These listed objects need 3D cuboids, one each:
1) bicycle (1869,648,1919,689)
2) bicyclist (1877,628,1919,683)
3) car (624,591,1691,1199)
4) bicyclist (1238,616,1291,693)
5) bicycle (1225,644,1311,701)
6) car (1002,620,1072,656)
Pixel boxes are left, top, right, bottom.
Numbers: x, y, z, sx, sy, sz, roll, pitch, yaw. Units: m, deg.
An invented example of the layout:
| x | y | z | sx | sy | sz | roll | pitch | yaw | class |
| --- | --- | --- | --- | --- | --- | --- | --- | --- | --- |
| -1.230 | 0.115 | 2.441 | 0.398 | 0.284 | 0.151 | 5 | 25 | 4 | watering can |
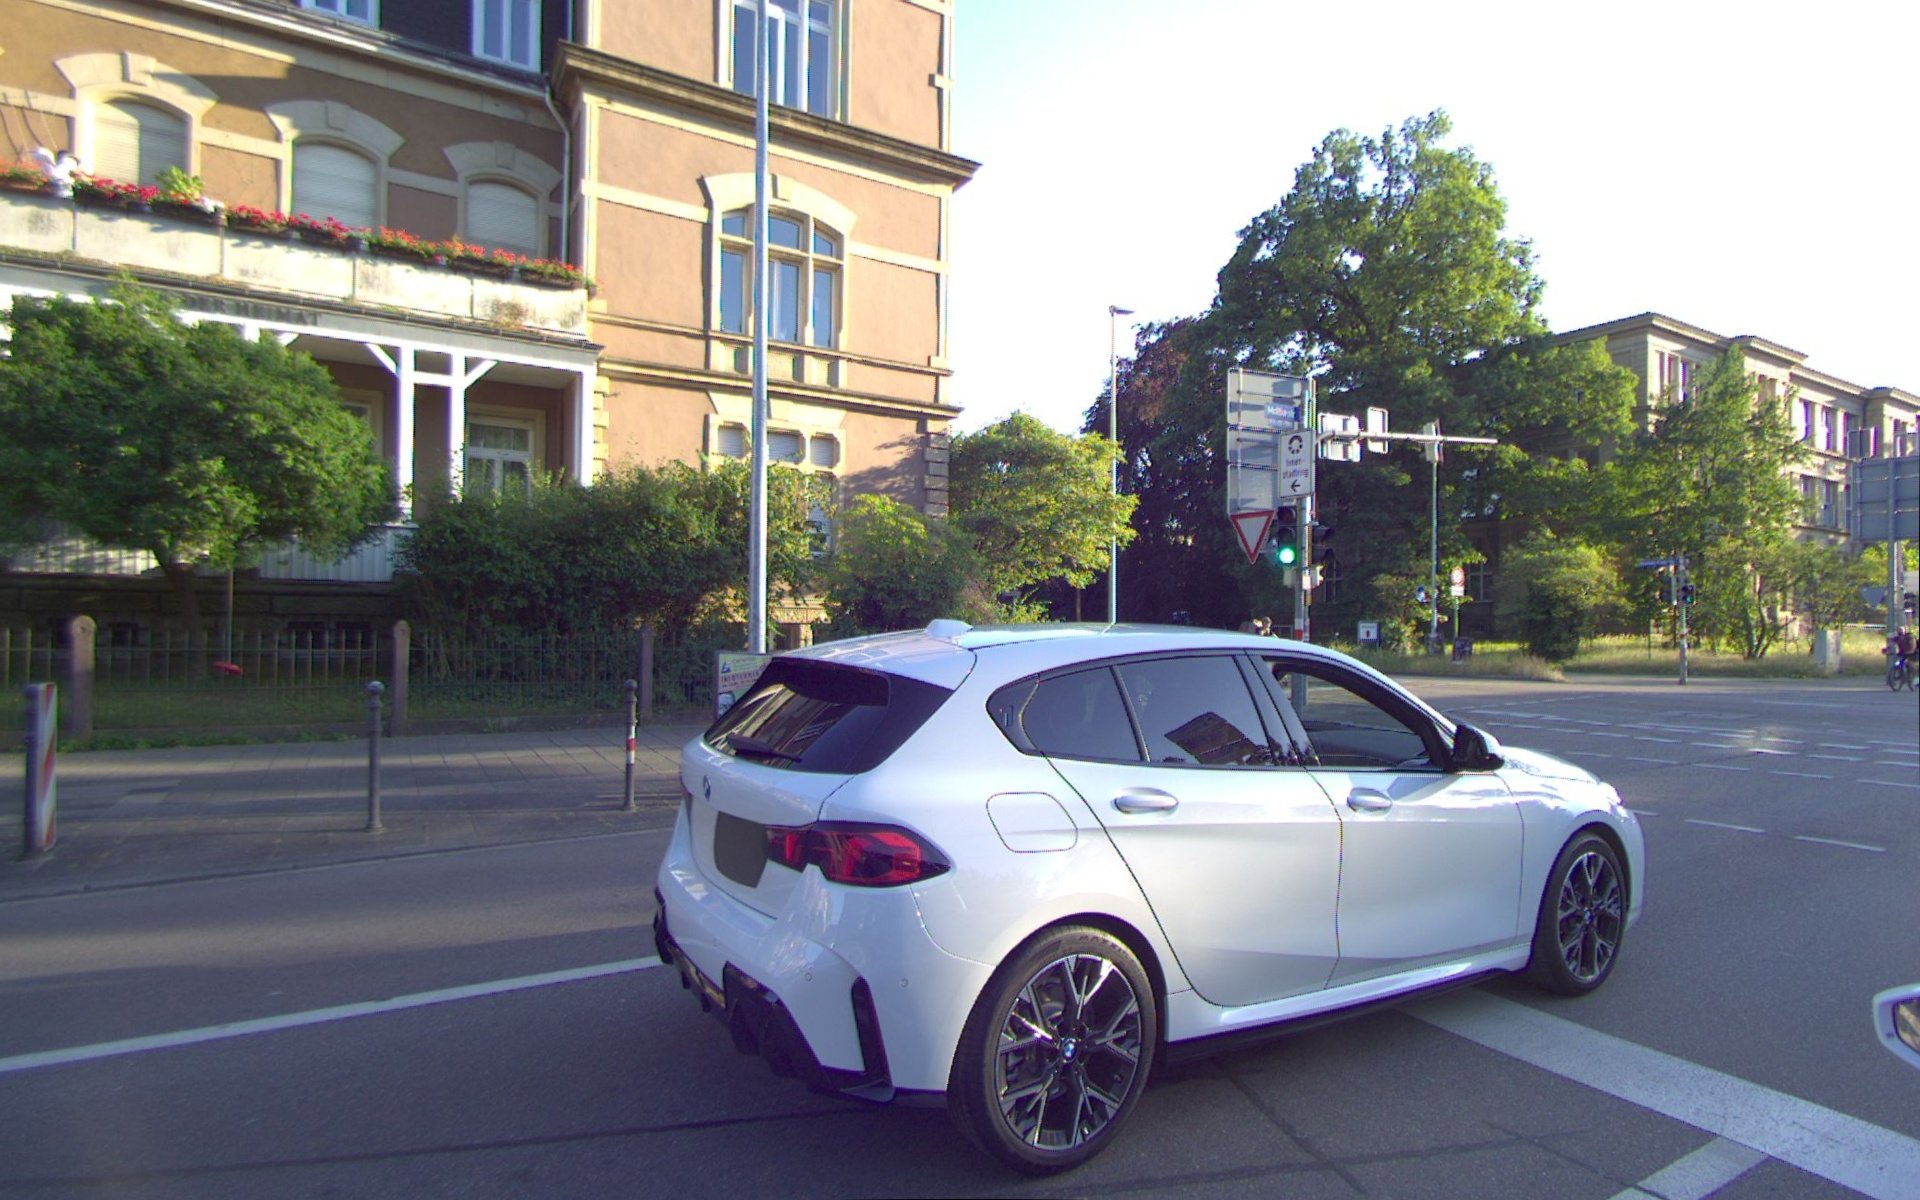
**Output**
| x | y | z | sx | sy | sz | roll | pitch | yaw | class |
| --- | --- | --- | --- | --- | --- | --- | --- | --- | --- |
| 26.702 | 1.929 | 28.532 | 2.143 | 1.138 | 0.683 | 1 | -2 | -31 | bicycle |
| 26.673 | 1.561 | 28.520 | 0.944 | 1.532 | 0.680 | 1 | -1 | -30 | bicyclist |
| 0.977 | 0.787 | 4.041 | 4.141 | 1.485 | 1.743 | 2 | -2 | -32 | car |
| 6.847 | 1.210 | 22.578 | 0.645 | 1.654 | 0.907 | 2 | 0 | -31 | bicyclist |
| 6.874 | 1.597 | 22.517 | 0.653 | 1.104 | 1.887 | 1 | 0 | -30 | bicycle |
| 4.148 | 2.024 | 54.778 | 1.841 | 1.870 | 4.087 | 1 | -2 | -31 | car |
